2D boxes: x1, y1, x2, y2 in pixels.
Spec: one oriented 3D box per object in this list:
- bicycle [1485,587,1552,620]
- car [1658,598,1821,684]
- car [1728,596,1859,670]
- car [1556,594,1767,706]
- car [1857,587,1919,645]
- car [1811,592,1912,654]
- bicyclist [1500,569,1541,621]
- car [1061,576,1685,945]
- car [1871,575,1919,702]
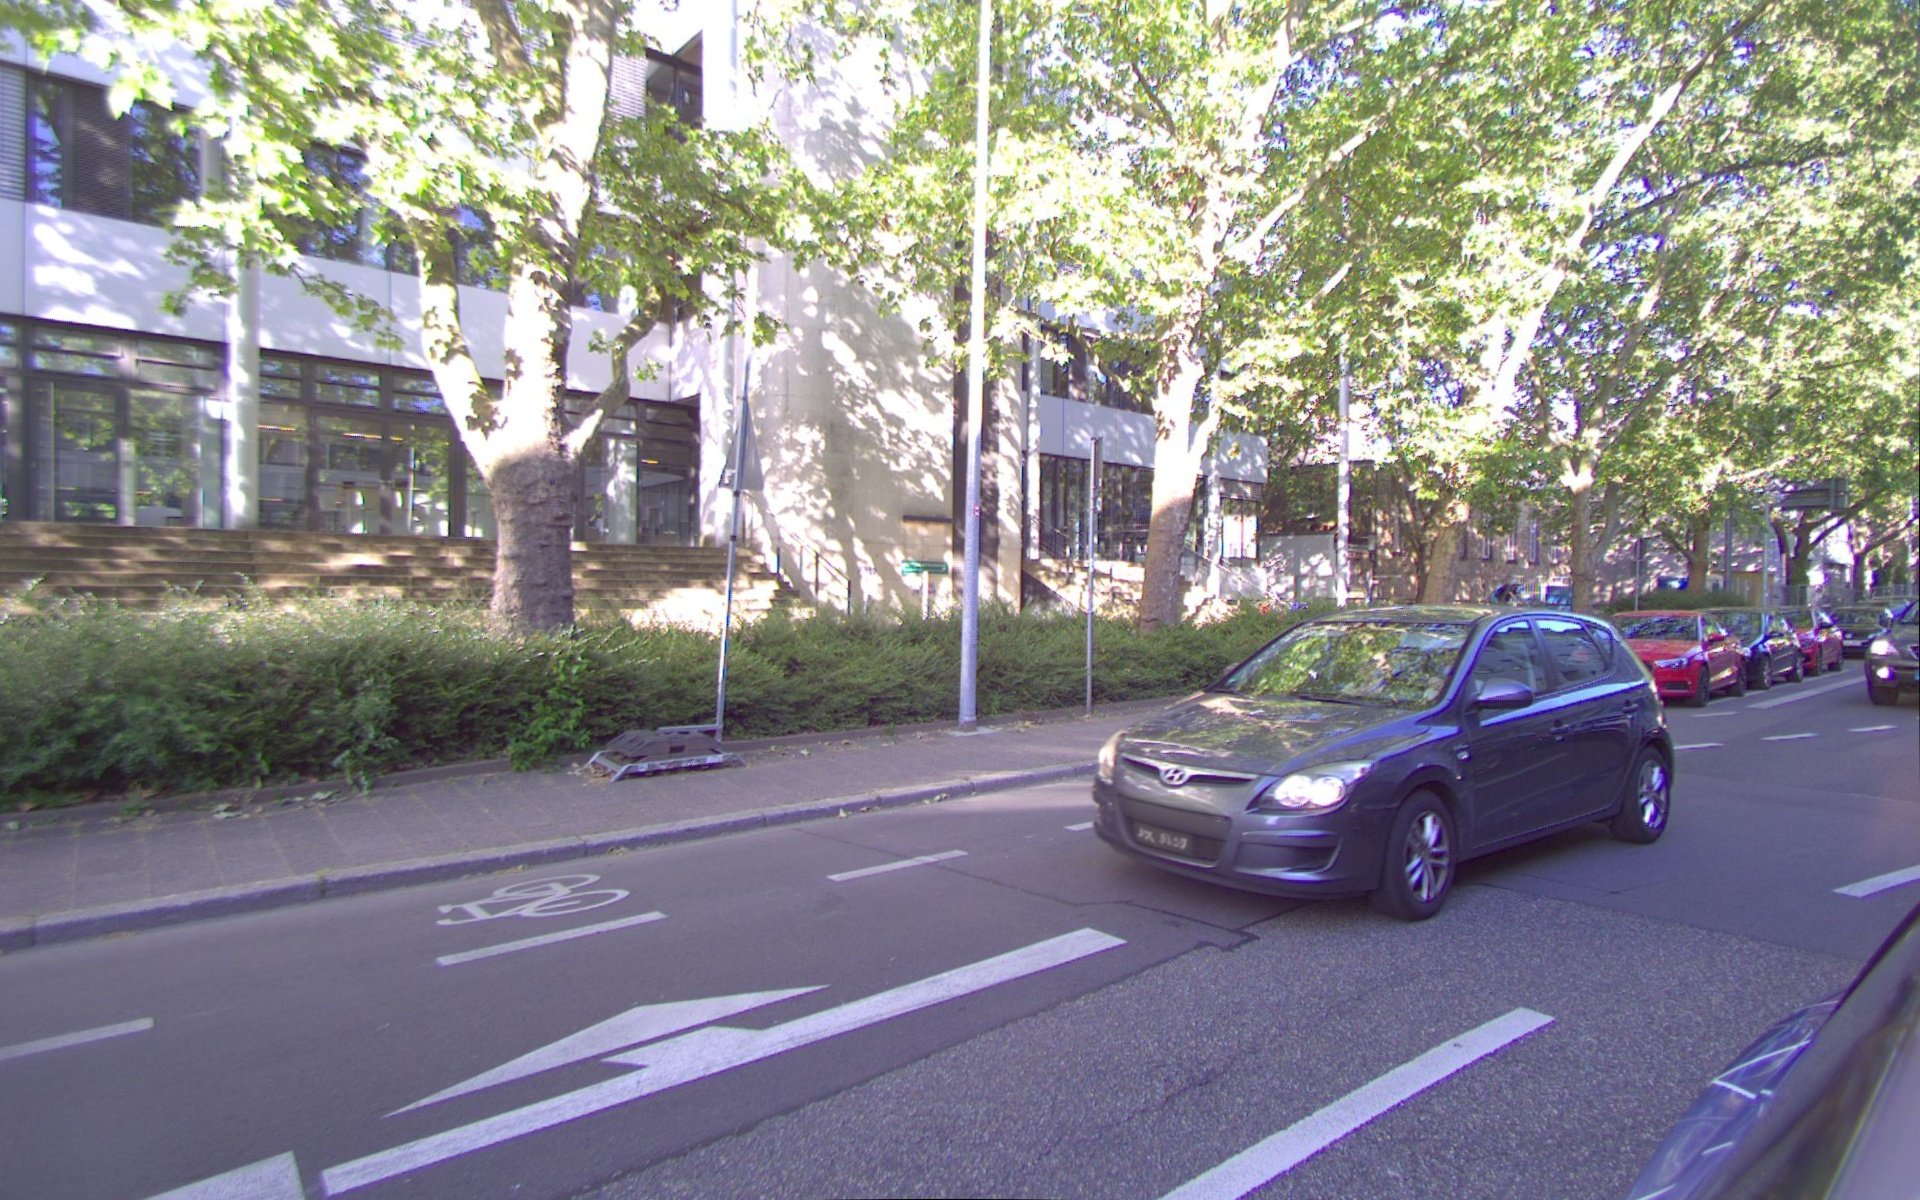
[{"bbox_3d":[17.936,0.110,32.522,1.792,1.027,0.723,0,0,41],"label":"bicycle"},{"bbox_3d":[14.967,0.716,19.361,4.022,1.472,1.739,0,-1,-42],"label":"car"},{"bbox_3d":[18.698,0.682,22.645,3.851,1.511,1.679,0,-1,-42],"label":"car"},{"bbox_3d":[11.213,0.709,16.079,4.071,1.548,1.827,0,-1,-42],"label":"car"},{"bbox_3d":[29.634,0.470,31.880,3.840,1.708,1.633,0,1,-42],"label":"car"},{"bbox_3d":[25.825,0.605,28.951,4.022,1.653,1.739,0,1,-42],"label":"car"},{"bbox_3d":[17.992,-0.158,32.479,1.033,1.640,0.687,0,0,41],"label":"bicyclist"},{"bbox_3d":[2.594,0.642,5.967,3.902,1.501,1.649,0,0,-37],"label":"car"},{"bbox_3d":[15.556,0.518,15.126,4.299,1.793,1.787,0,-1,-33],"label":"car"}]
